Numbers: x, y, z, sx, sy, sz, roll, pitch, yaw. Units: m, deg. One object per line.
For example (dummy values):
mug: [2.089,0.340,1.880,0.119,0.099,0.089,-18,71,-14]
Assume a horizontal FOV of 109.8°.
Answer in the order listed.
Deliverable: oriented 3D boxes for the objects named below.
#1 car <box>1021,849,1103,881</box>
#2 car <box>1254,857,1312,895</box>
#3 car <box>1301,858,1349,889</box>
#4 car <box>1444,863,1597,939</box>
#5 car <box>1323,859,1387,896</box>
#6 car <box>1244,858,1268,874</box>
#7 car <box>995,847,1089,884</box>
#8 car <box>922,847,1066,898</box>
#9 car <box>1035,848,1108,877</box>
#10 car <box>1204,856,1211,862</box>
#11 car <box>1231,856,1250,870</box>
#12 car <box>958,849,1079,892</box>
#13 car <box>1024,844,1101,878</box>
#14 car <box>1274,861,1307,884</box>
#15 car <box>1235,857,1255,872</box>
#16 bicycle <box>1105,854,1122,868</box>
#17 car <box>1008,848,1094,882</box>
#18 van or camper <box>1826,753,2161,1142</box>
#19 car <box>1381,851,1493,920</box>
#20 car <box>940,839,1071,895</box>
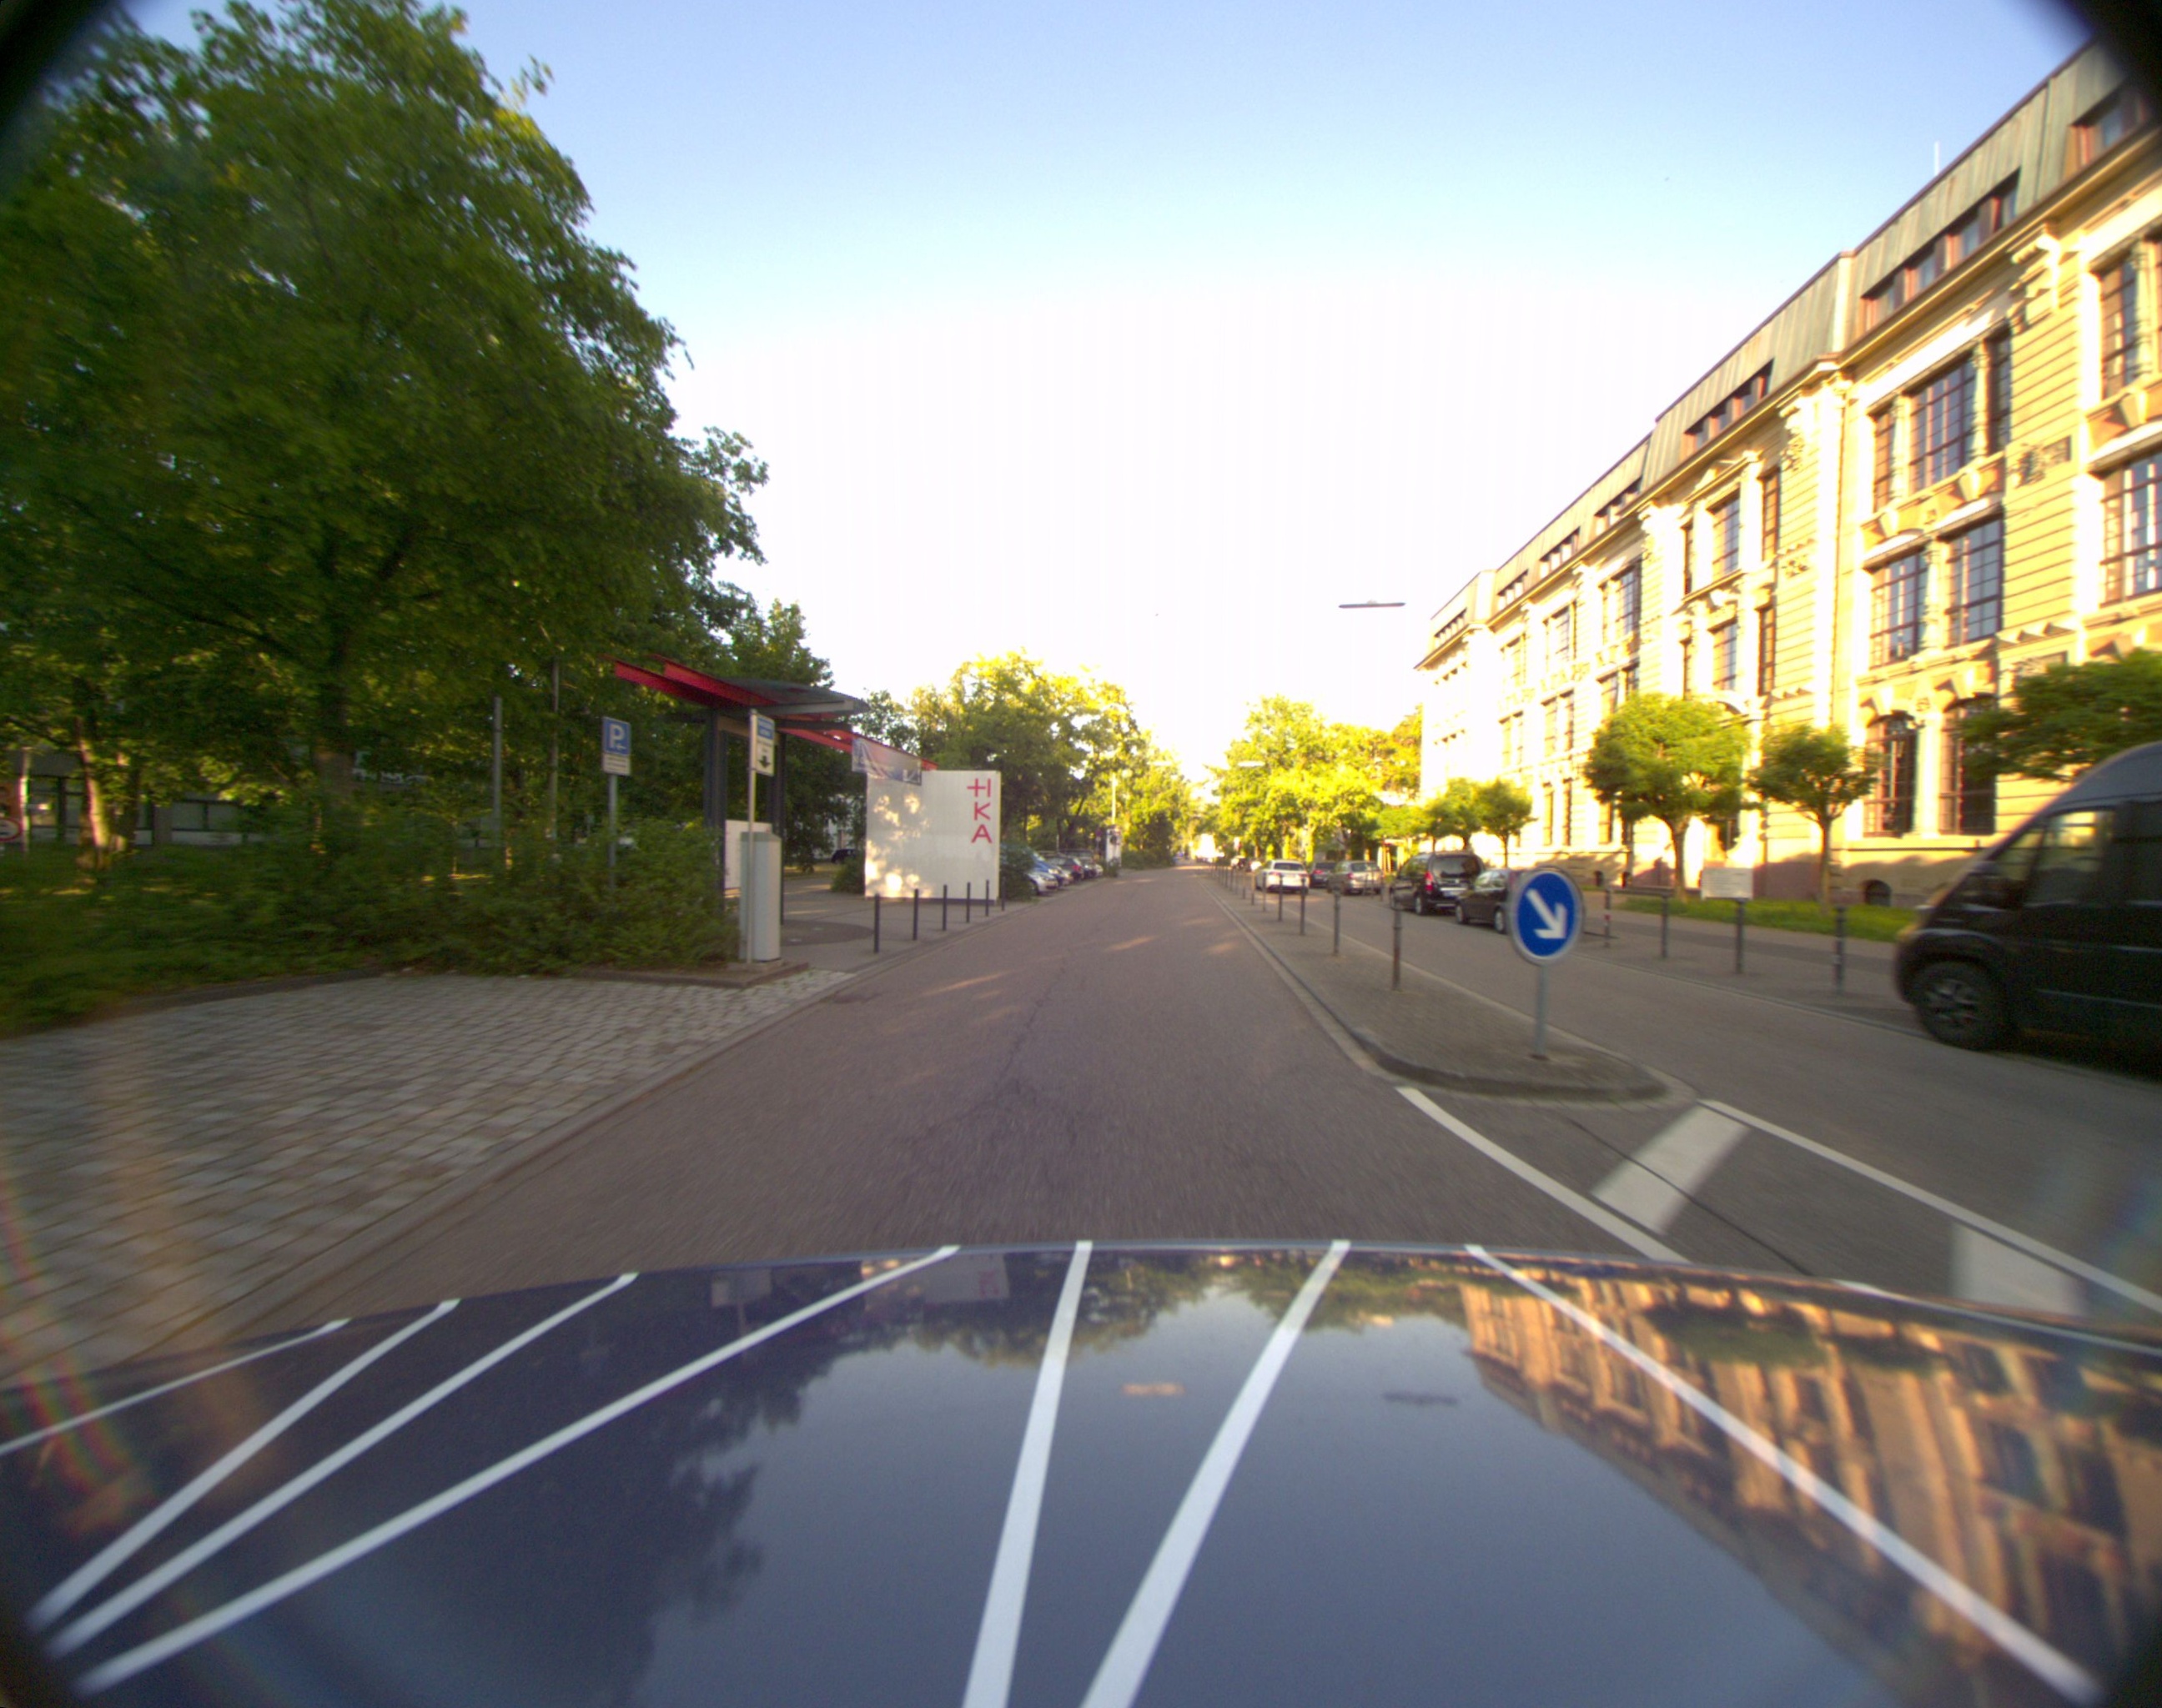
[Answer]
car: [-1.055,0.612,43.720,4.371,1.545,1.877,3,1,6]
car: [8.737,0.896,33.189,1.744,1.449,4.626,2,0,6]
car: [12.823,0.986,40.192,1.621,1.487,4.379,1,0,7]
car: [9.752,0.985,17.205,1.699,1.461,3.857,-1,0,9]
car: [11.972,0.977,33.467,1.722,1.487,4.380,-2,0,8]
car: [16.899,1.152,73.468,1.805,1.502,4.865,0,0,8]
car: [-1.913,0.563,38.077,4.371,1.528,1.922,3,1,6]
car: [-3.179,0.666,28.257,4.936,1.545,1.917,3,1,6]
car: [-0.576,0.522,48.764,4.371,1.545,1.728,3,1,6]
car: [33.084,1.428,198.563,1.775,1.559,4.111,0,0,7]
car: [19.351,1.049,92.240,1.807,1.607,4.149,1,0,7]
car: [-2.676,0.691,33.339,4.936,1.545,1.917,3,1,6]
car: [-1.085,0.415,46.559,4.371,1.770,1.922,3,1,6]
car: [14.455,1.241,52.654,1.621,1.487,3.926,1,0,7]
car: [18.173,1.151,84.222,1.783,1.606,4.149,0,0,7]
bicycle: [2.886,0.658,66.841,0.492,1.141,2.290,5,0,27]
car: [-1.607,0.573,41.388,4.371,1.528,1.922,3,1,6]
van or camper: [8.030,0.609,3.818,2.234,2.529,7.083,0,0,7]
car: [10.534,0.863,22.827,1.781,1.855,4.335,-1,0,7]
car: [-3.002,0.511,30.765,4.861,1.905,1.917,3,1,6]
